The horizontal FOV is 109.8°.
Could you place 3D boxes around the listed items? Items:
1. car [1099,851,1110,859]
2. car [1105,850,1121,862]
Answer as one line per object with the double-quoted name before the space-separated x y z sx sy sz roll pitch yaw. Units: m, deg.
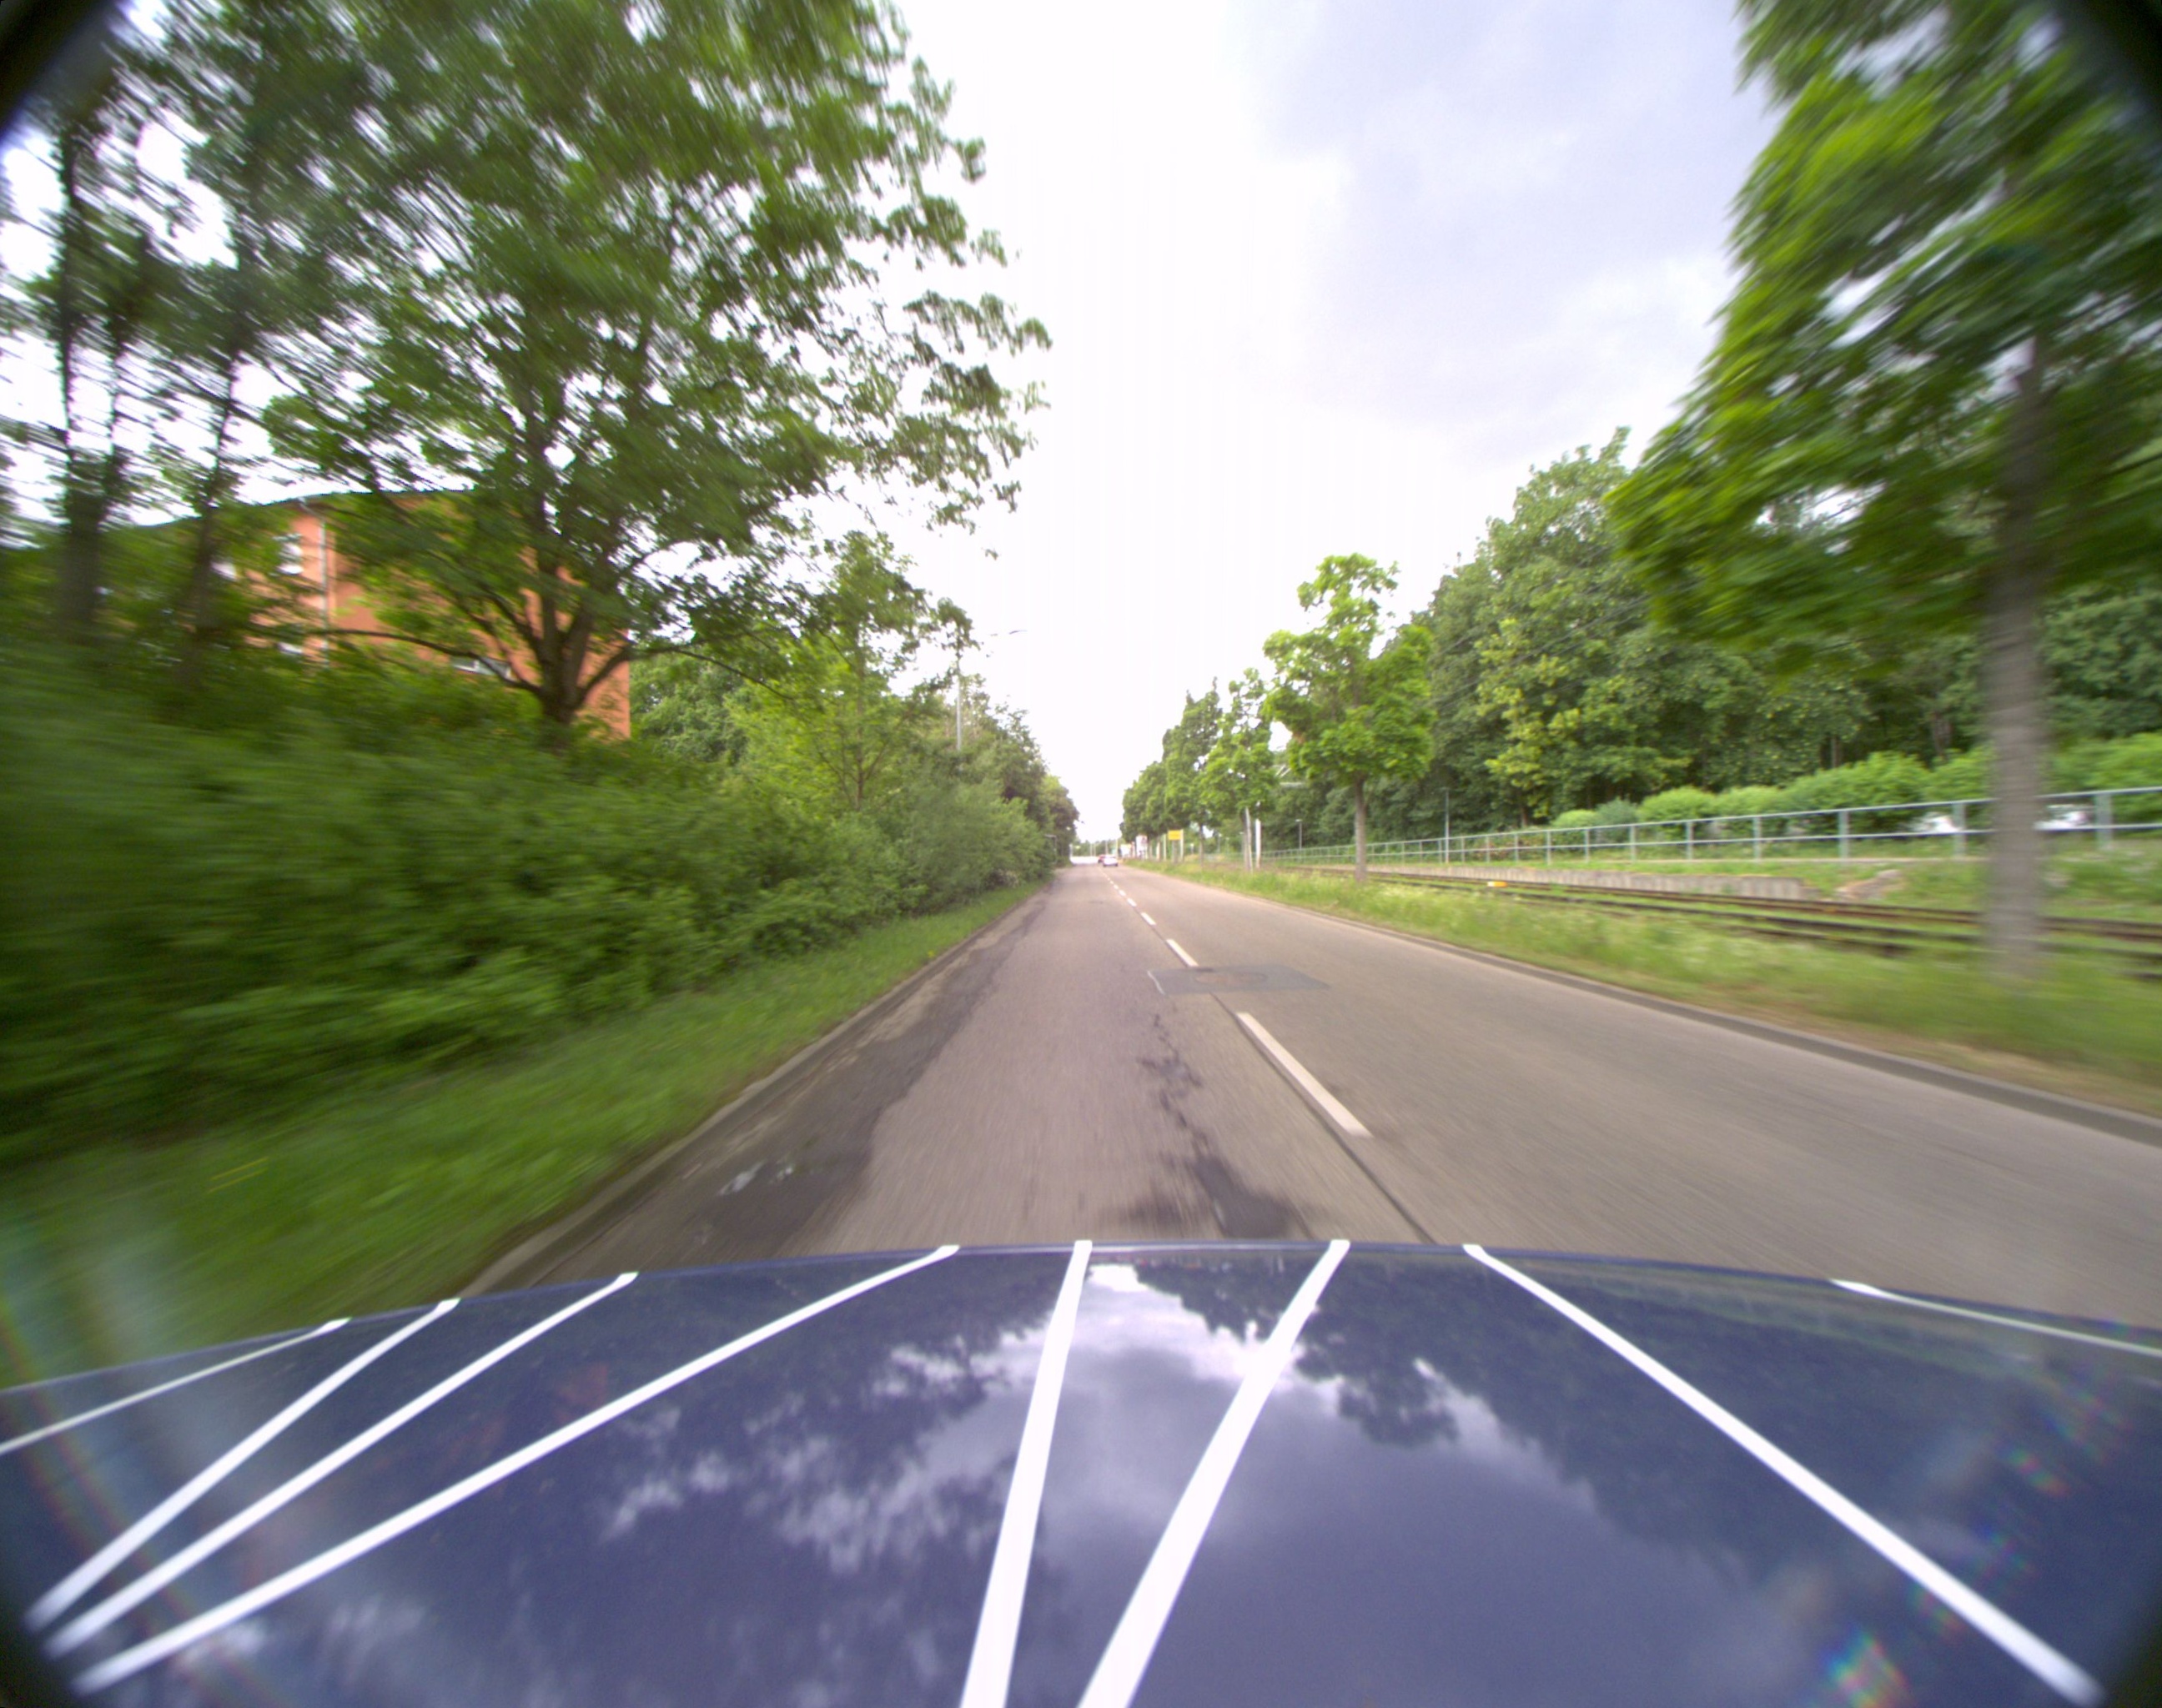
"car" 4.438 0.165 142.610 2.038 1.508 3.654 -2 0 1
"car" 4.032 0.252 96.346 1.778 1.460 4.241 -2 0 1
